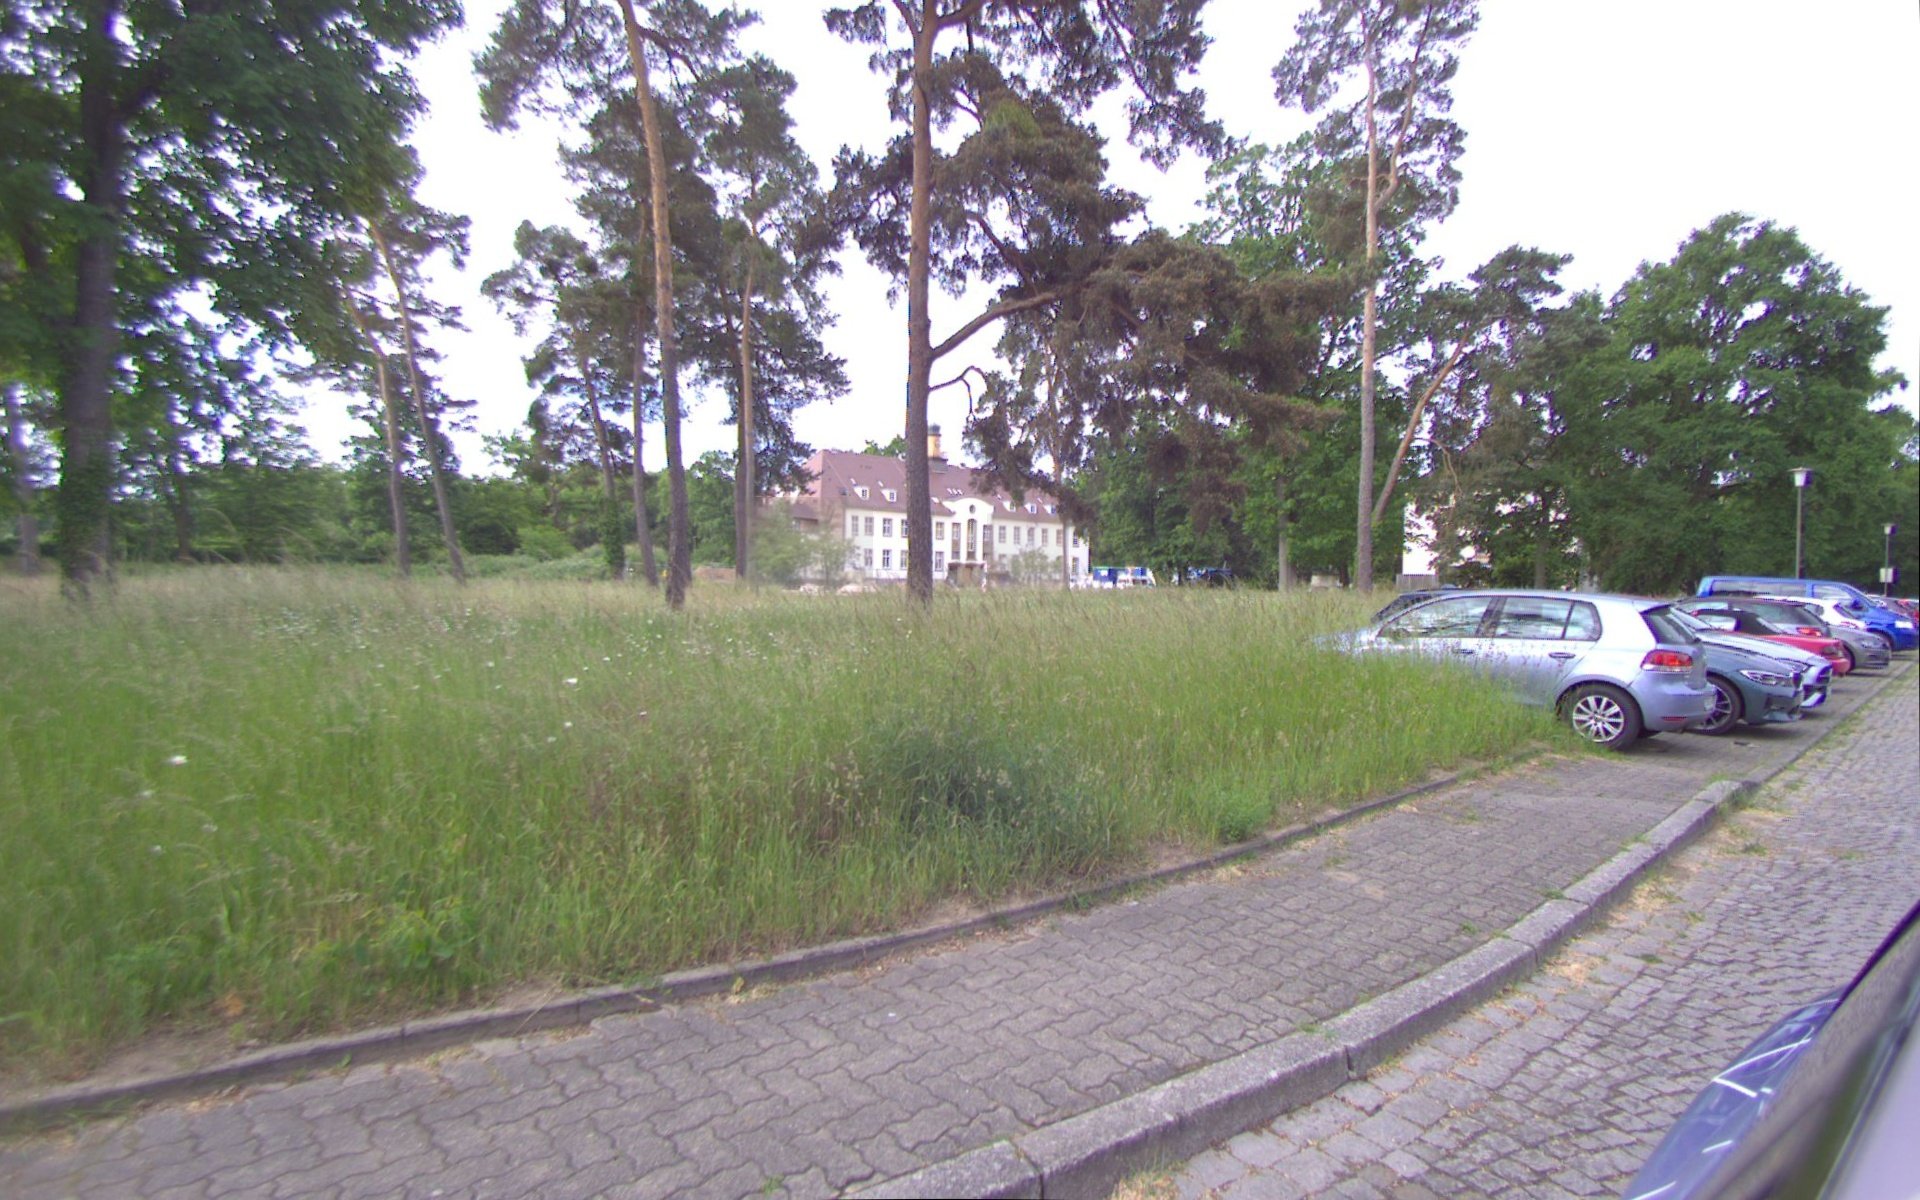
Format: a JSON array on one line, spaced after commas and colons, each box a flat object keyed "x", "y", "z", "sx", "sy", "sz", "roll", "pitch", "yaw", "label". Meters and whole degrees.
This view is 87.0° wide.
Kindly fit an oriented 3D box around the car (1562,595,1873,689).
[{"x": 12.889, "y": 0.629, "z": 17.428, "sx": 1.523, "sy": 1.255, "sz": 4.047, "roll": 0, "pitch": 3, "yaw": -42, "label": "car"}]

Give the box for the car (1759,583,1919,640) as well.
[{"x": 28.845, "y": 0.342, "z": 33.001, "sx": 1.625, "sy": 1.612, "sz": 4.083, "roll": 0, "pitch": 3, "yaw": -40, "label": "car"}]

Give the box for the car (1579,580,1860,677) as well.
[{"x": 14.474, "y": 0.454, "z": 19.486, "sx": 1.572, "sy": 1.535, "sz": 4.050, "roll": 0, "pitch": 3, "yaw": -40, "label": "car"}]

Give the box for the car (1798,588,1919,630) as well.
[{"x": 36.051, "y": 0.336, "z": 40.149, "sx": 1.696, "sy": 1.462, "sz": 4.082, "roll": 0, "pitch": 3, "yaw": -41, "label": "car"}]

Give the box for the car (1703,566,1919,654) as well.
[{"x": 22.709, "y": 0.185, "z": 26.747, "sx": 1.879, "sy": 2.030, "sz": 4.600, "roll": -1, "pitch": 3, "yaw": -41, "label": "car"}]

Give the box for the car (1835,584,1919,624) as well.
[{"x": 43.568, "y": 0.196, "z": 47.005, "sx": 1.694, "sy": 1.715, "sz": 4.088, "roll": 0, "pitch": 2, "yaw": -36, "label": "car"}]

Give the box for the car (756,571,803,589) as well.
[{"x": -19.892, "y": -2.217, "z": 111.357, "sx": 5.775, "sy": 1.985, "sz": 2.161, "roll": 1, "pitch": 1, "yaw": 43, "label": "car"}]

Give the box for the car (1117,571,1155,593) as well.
[{"x": 19.523, "y": -1.999, "z": 112.133, "sx": 4.373, "sy": 2.394, "sz": 1.859, "roll": -1, "pitch": 1, "yaw": -43, "label": "car"}]

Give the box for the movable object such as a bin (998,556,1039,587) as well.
[{"x": 7.398, "y": -3.627, "z": 128.537, "sx": 2.016, "sy": 3.817, "sz": 5.458, "roll": -1, "pitch": 1, "yaw": -39, "label": "movable object such as a bin"}]

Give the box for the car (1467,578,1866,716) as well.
[{"x": 9.629, "y": 0.517, "z": 14.105, "sx": 1.687, "sy": 1.491, "sz": 4.246, "roll": 0, "pitch": 3, "yaw": -40, "label": "car"}]

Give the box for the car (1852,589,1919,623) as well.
[{"x": 47.030, "y": 0.311, "z": 50.051, "sx": 1.694, "sy": 1.552, "sz": 4.098, "roll": 0, "pitch": 2, "yaw": -36, "label": "car"}]

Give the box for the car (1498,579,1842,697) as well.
[{"x": 11.115, "y": 0.490, "z": 16.088, "sx": 1.688, "sy": 1.500, "sz": 4.180, "roll": 0, "pitch": 3, "yaw": -42, "label": "car"}]

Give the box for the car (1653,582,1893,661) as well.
[{"x": 18.616, "y": 0.427, "z": 23.330, "sx": 1.572, "sy": 1.535, "sz": 4.050, "roll": 0, "pitch": 3, "yaw": -40, "label": "car"}]

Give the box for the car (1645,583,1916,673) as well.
[{"x": 16.867, "y": 0.489, "z": 20.987, "sx": 1.670, "sy": 1.535, "sz": 4.097, "roll": 0, "pitch": 3, "yaw": -40, "label": "car"}]

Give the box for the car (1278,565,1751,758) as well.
[{"x": 5.631, "y": 0.473, "z": 10.650, "sx": 1.670, "sy": 1.446, "sz": 4.006, "roll": 0, "pitch": 4, "yaw": -44, "label": "car"}]

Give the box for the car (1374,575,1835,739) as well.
[{"x": 7.608, "y": 0.533, "z": 12.316, "sx": 1.636, "sy": 1.400, "sz": 4.434, "roll": 0, "pitch": 4, "yaw": -44, "label": "car"}]
